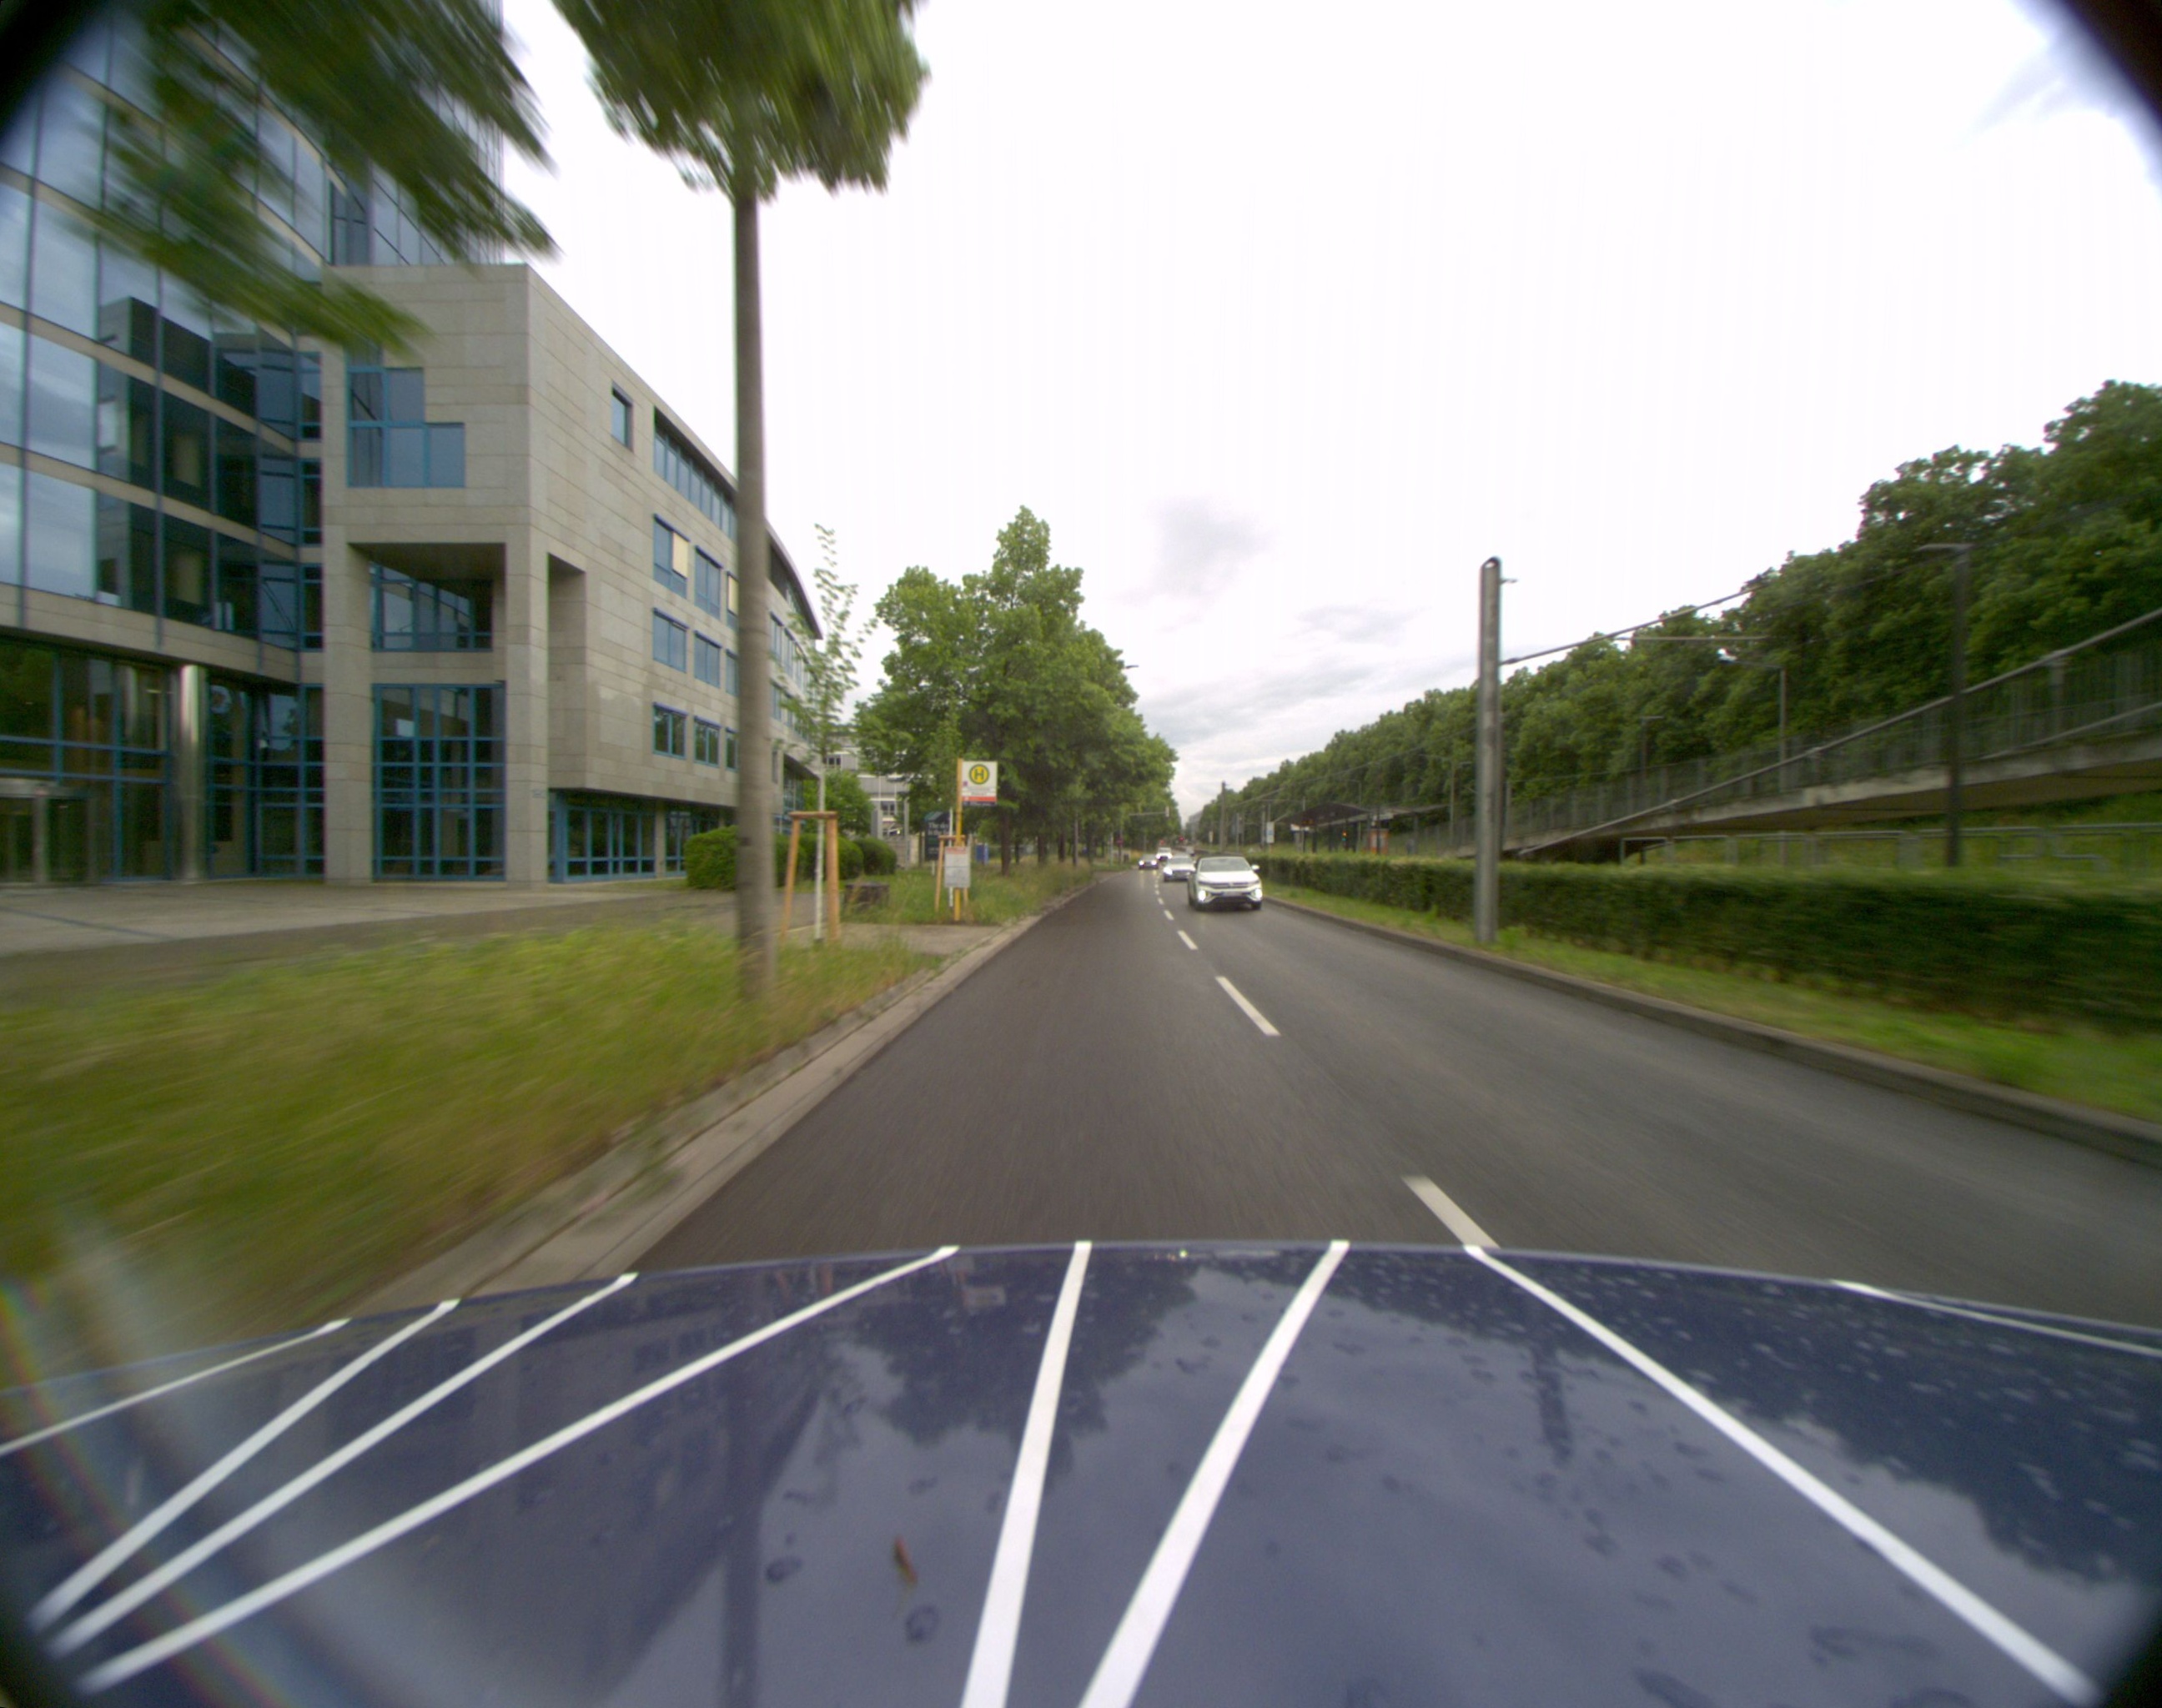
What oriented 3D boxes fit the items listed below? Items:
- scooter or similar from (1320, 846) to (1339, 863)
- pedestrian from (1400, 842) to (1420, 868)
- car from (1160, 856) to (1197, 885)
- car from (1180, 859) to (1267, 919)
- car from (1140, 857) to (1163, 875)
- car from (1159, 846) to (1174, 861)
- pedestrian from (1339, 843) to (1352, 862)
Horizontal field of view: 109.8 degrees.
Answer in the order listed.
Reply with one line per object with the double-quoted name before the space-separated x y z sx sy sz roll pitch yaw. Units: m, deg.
"scooter or similar" 18.570 0.025 56.754 0.380 1.211 1.297 -3 2 -38
"pedestrian" 20.669 0.044 47.772 0.937 1.602 1.027 0 1 7
"car" 5.619 0.897 43.829 1.959 1.472 4.701 -2 0 7
"car" 4.072 0.942 22.431 1.959 1.457 4.700 -3 0 4
"car" 6.536 1.104 70.306 1.959 1.469 4.701 -2 0 7
"car" 11.511 -0.107 102.404 1.959 1.914 4.847 -2 0 5
"pedestrian" 18.442 -0.093 53.012 0.754 1.348 0.692 0 1 5
